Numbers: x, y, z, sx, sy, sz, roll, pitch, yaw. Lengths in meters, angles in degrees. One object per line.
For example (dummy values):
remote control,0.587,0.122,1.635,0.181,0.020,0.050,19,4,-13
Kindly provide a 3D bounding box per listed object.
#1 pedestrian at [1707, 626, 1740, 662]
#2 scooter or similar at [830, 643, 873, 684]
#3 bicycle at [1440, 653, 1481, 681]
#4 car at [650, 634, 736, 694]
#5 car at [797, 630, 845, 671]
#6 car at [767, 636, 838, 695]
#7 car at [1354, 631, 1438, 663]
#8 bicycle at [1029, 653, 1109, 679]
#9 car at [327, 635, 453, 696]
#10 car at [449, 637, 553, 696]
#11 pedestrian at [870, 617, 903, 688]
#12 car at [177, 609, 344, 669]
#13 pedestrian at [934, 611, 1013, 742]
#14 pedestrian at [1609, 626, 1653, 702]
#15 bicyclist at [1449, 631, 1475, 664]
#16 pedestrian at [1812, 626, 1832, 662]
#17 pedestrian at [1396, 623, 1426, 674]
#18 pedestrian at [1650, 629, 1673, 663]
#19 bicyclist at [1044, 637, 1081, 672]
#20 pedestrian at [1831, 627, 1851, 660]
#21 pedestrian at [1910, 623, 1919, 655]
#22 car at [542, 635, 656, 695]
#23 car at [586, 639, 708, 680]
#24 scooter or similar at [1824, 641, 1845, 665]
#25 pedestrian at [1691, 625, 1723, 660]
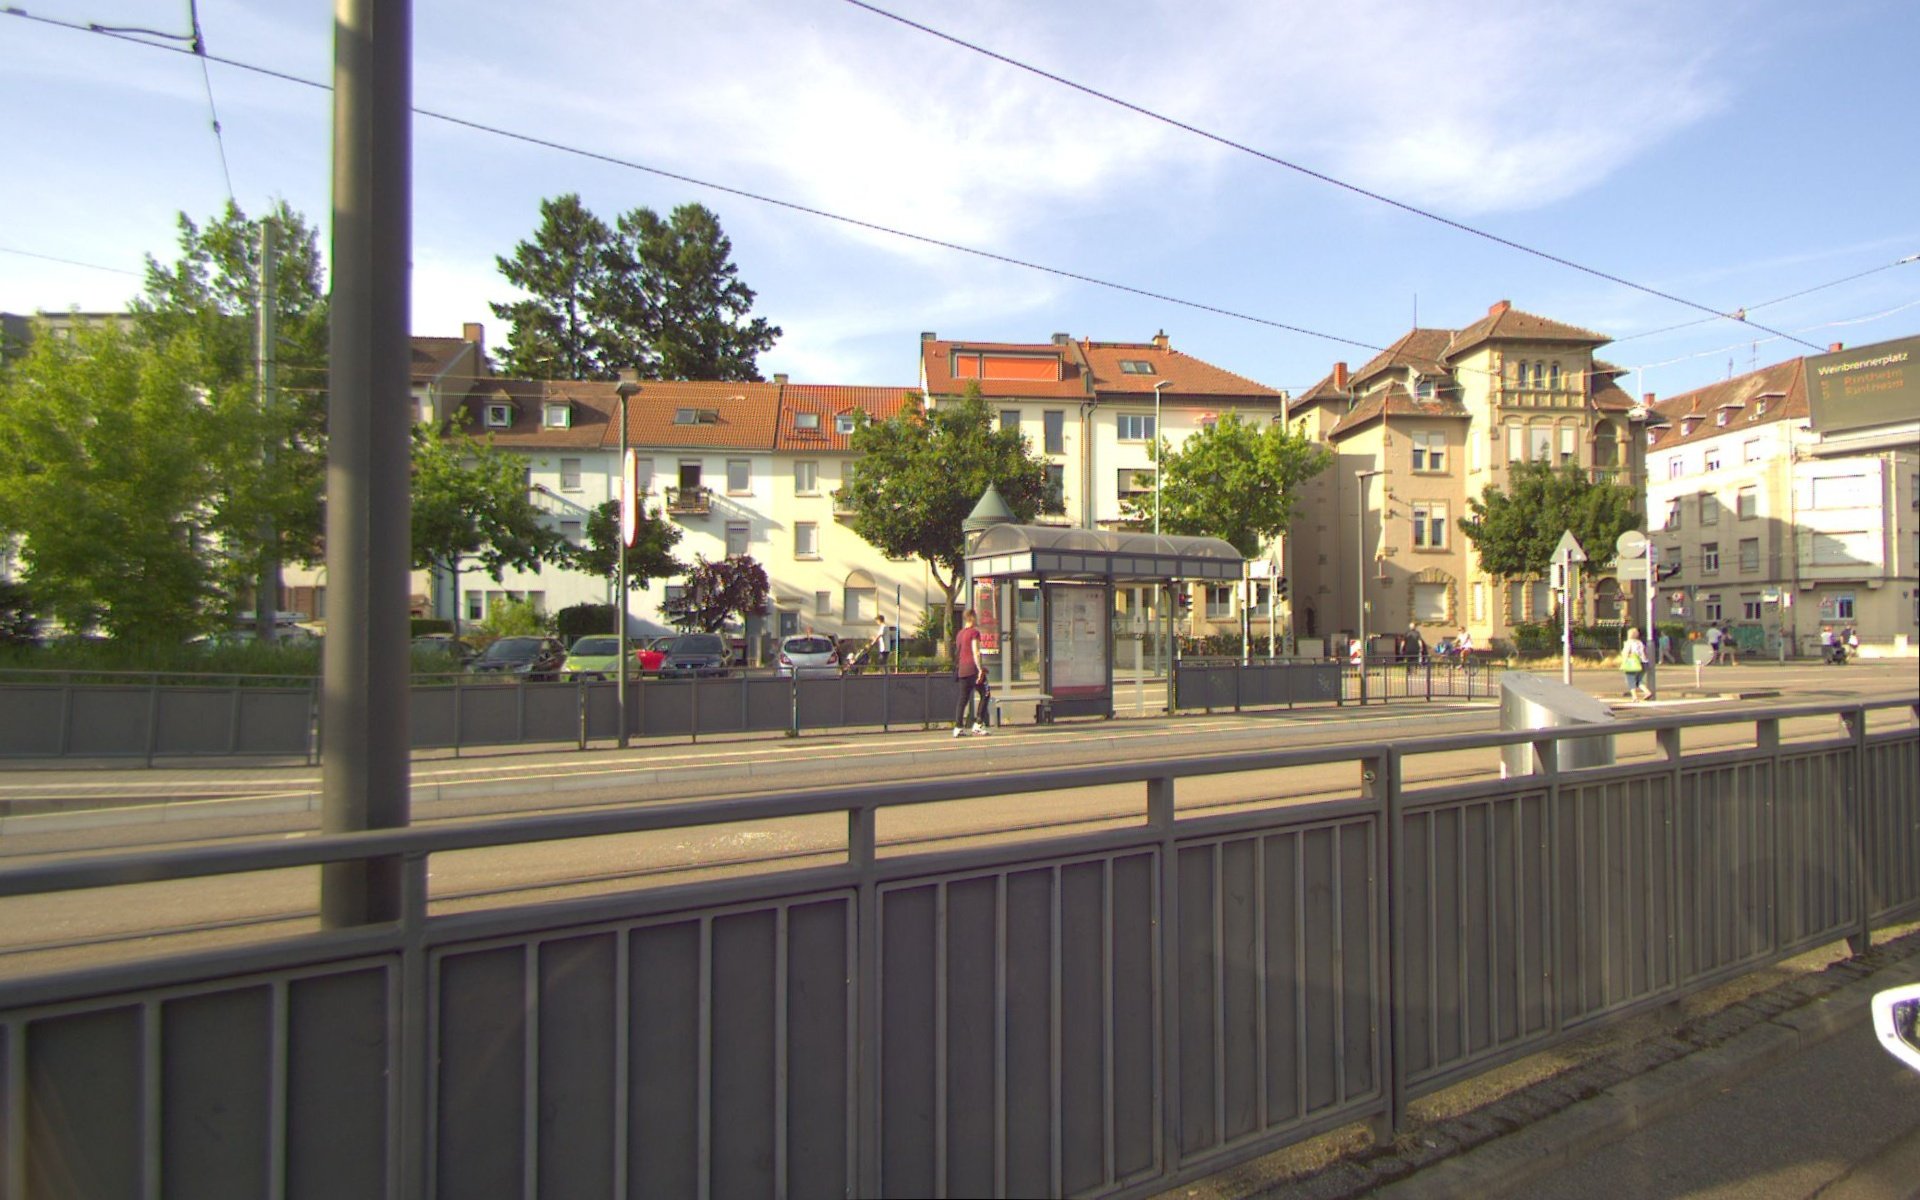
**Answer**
pedestrian,33.678,1.916,44.296,0.768,1.572,0.831,0,-2,-8
scooter or similar,-2.716,1.572,25.155,1.006,1.001,0.556,0,-2,-15
bicycle,16.318,2.175,32.747,1.670,0.845,0.522,1,-2,-37
car,-7.160,1.681,27.289,1.815,1.505,3.995,0,-2,-9
car,-6.052,2.195,44.210,1.962,1.684,3.997,0,-2,-6
car,-4.342,1.764,27.827,1.815,1.505,3.995,0,-2,-9
car,20.376,2.172,47.130,1.732,1.327,4.111,2,0,-7
bicycle,4.058,2.431,37.327,2.954,0.926,0.783,1,-2,-22
car,-14.398,1.598,25.597,1.968,1.416,3.985,1,-2,-18
car,-11.877,1.674,26.257,1.968,1.416,3.985,1,-2,-18
pedestrian,-1.849,1.313,25.393,0.750,1.769,0.547,0,-2,-15
car,-18.651,1.045,27.038,1.813,1.505,3.999,0,-2,-3
pedestrian,0.177,1.026,13.540,0.867,1.706,0.551,1,-5,-30
pedestrian,14.589,1.379,21.835,0.627,1.620,0.608,1,-2,-36
bicyclist,16.408,1.547,32.829,0.673,1.058,0.509,1,-2,-37
pedestrian,40.018,2.049,46.643,0.601,1.647,0.506,1,-2,-29
pedestrian,15.088,1.623,33.611,0.778,1.667,0.757,-1,-2,16
pedestrian,31.850,2.087,45.606,0.702,1.561,0.626,1,-2,-30
bicyclist,3.803,2.021,37.217,1.157,1.278,0.762,1,-2,-22
pedestrian,40.412,1.982,46.075,0.540,1.520,0.437,0,-2,-15
pedestrian,51.107,2.057,53.406,0.577,1.682,0.619,1,-2,-21
car,-9.672,1.710,27.265,1.813,1.505,3.999,0,-2,-3
car,-11.220,2.120,36.250,3.927,1.416,1.836,0,-2,-9
scooter or similar,40.869,2.460,46.930,0.675,1.093,0.541,2,0,-30
pedestrian,33.590,1.922,45.197,0.768,1.572,0.831,0,-2,-8
